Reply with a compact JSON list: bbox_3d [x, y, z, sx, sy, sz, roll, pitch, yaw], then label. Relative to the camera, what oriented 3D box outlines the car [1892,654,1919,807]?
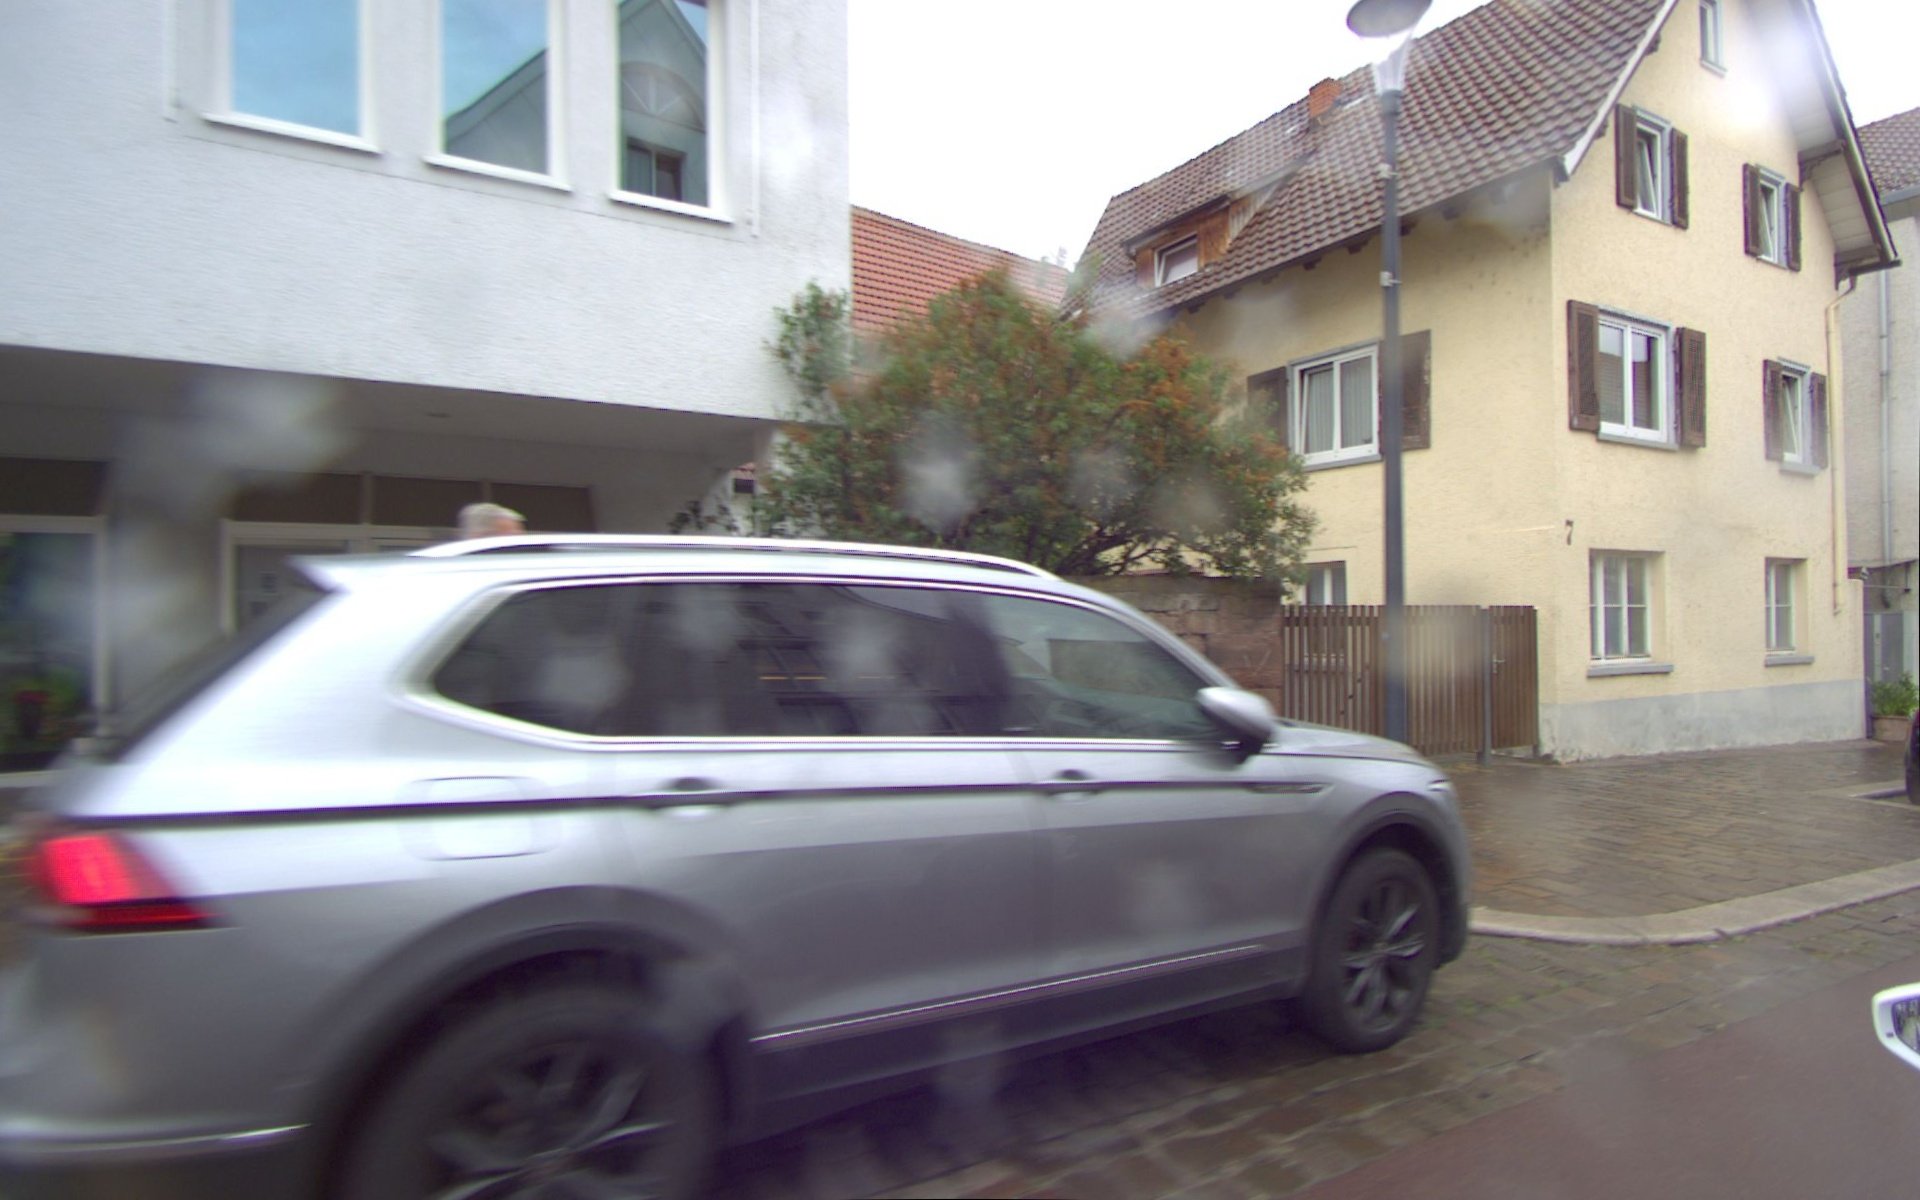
[{"bbox_3d":[10.830,1.275,9.843,3.786,1.407,1.671,2,-2,-34],"label":"car"}]

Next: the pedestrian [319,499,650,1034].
[{"bbox_3d":[-1.963,0.575,4.166,1.103,1.830,1.030,0,0,-30],"label":"pedestrian"}]

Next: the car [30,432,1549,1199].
[{"bbox_3d":[-0.032,0.622,3.468,4.359,1.589,1.770,2,-2,-32],"label":"car"}]
